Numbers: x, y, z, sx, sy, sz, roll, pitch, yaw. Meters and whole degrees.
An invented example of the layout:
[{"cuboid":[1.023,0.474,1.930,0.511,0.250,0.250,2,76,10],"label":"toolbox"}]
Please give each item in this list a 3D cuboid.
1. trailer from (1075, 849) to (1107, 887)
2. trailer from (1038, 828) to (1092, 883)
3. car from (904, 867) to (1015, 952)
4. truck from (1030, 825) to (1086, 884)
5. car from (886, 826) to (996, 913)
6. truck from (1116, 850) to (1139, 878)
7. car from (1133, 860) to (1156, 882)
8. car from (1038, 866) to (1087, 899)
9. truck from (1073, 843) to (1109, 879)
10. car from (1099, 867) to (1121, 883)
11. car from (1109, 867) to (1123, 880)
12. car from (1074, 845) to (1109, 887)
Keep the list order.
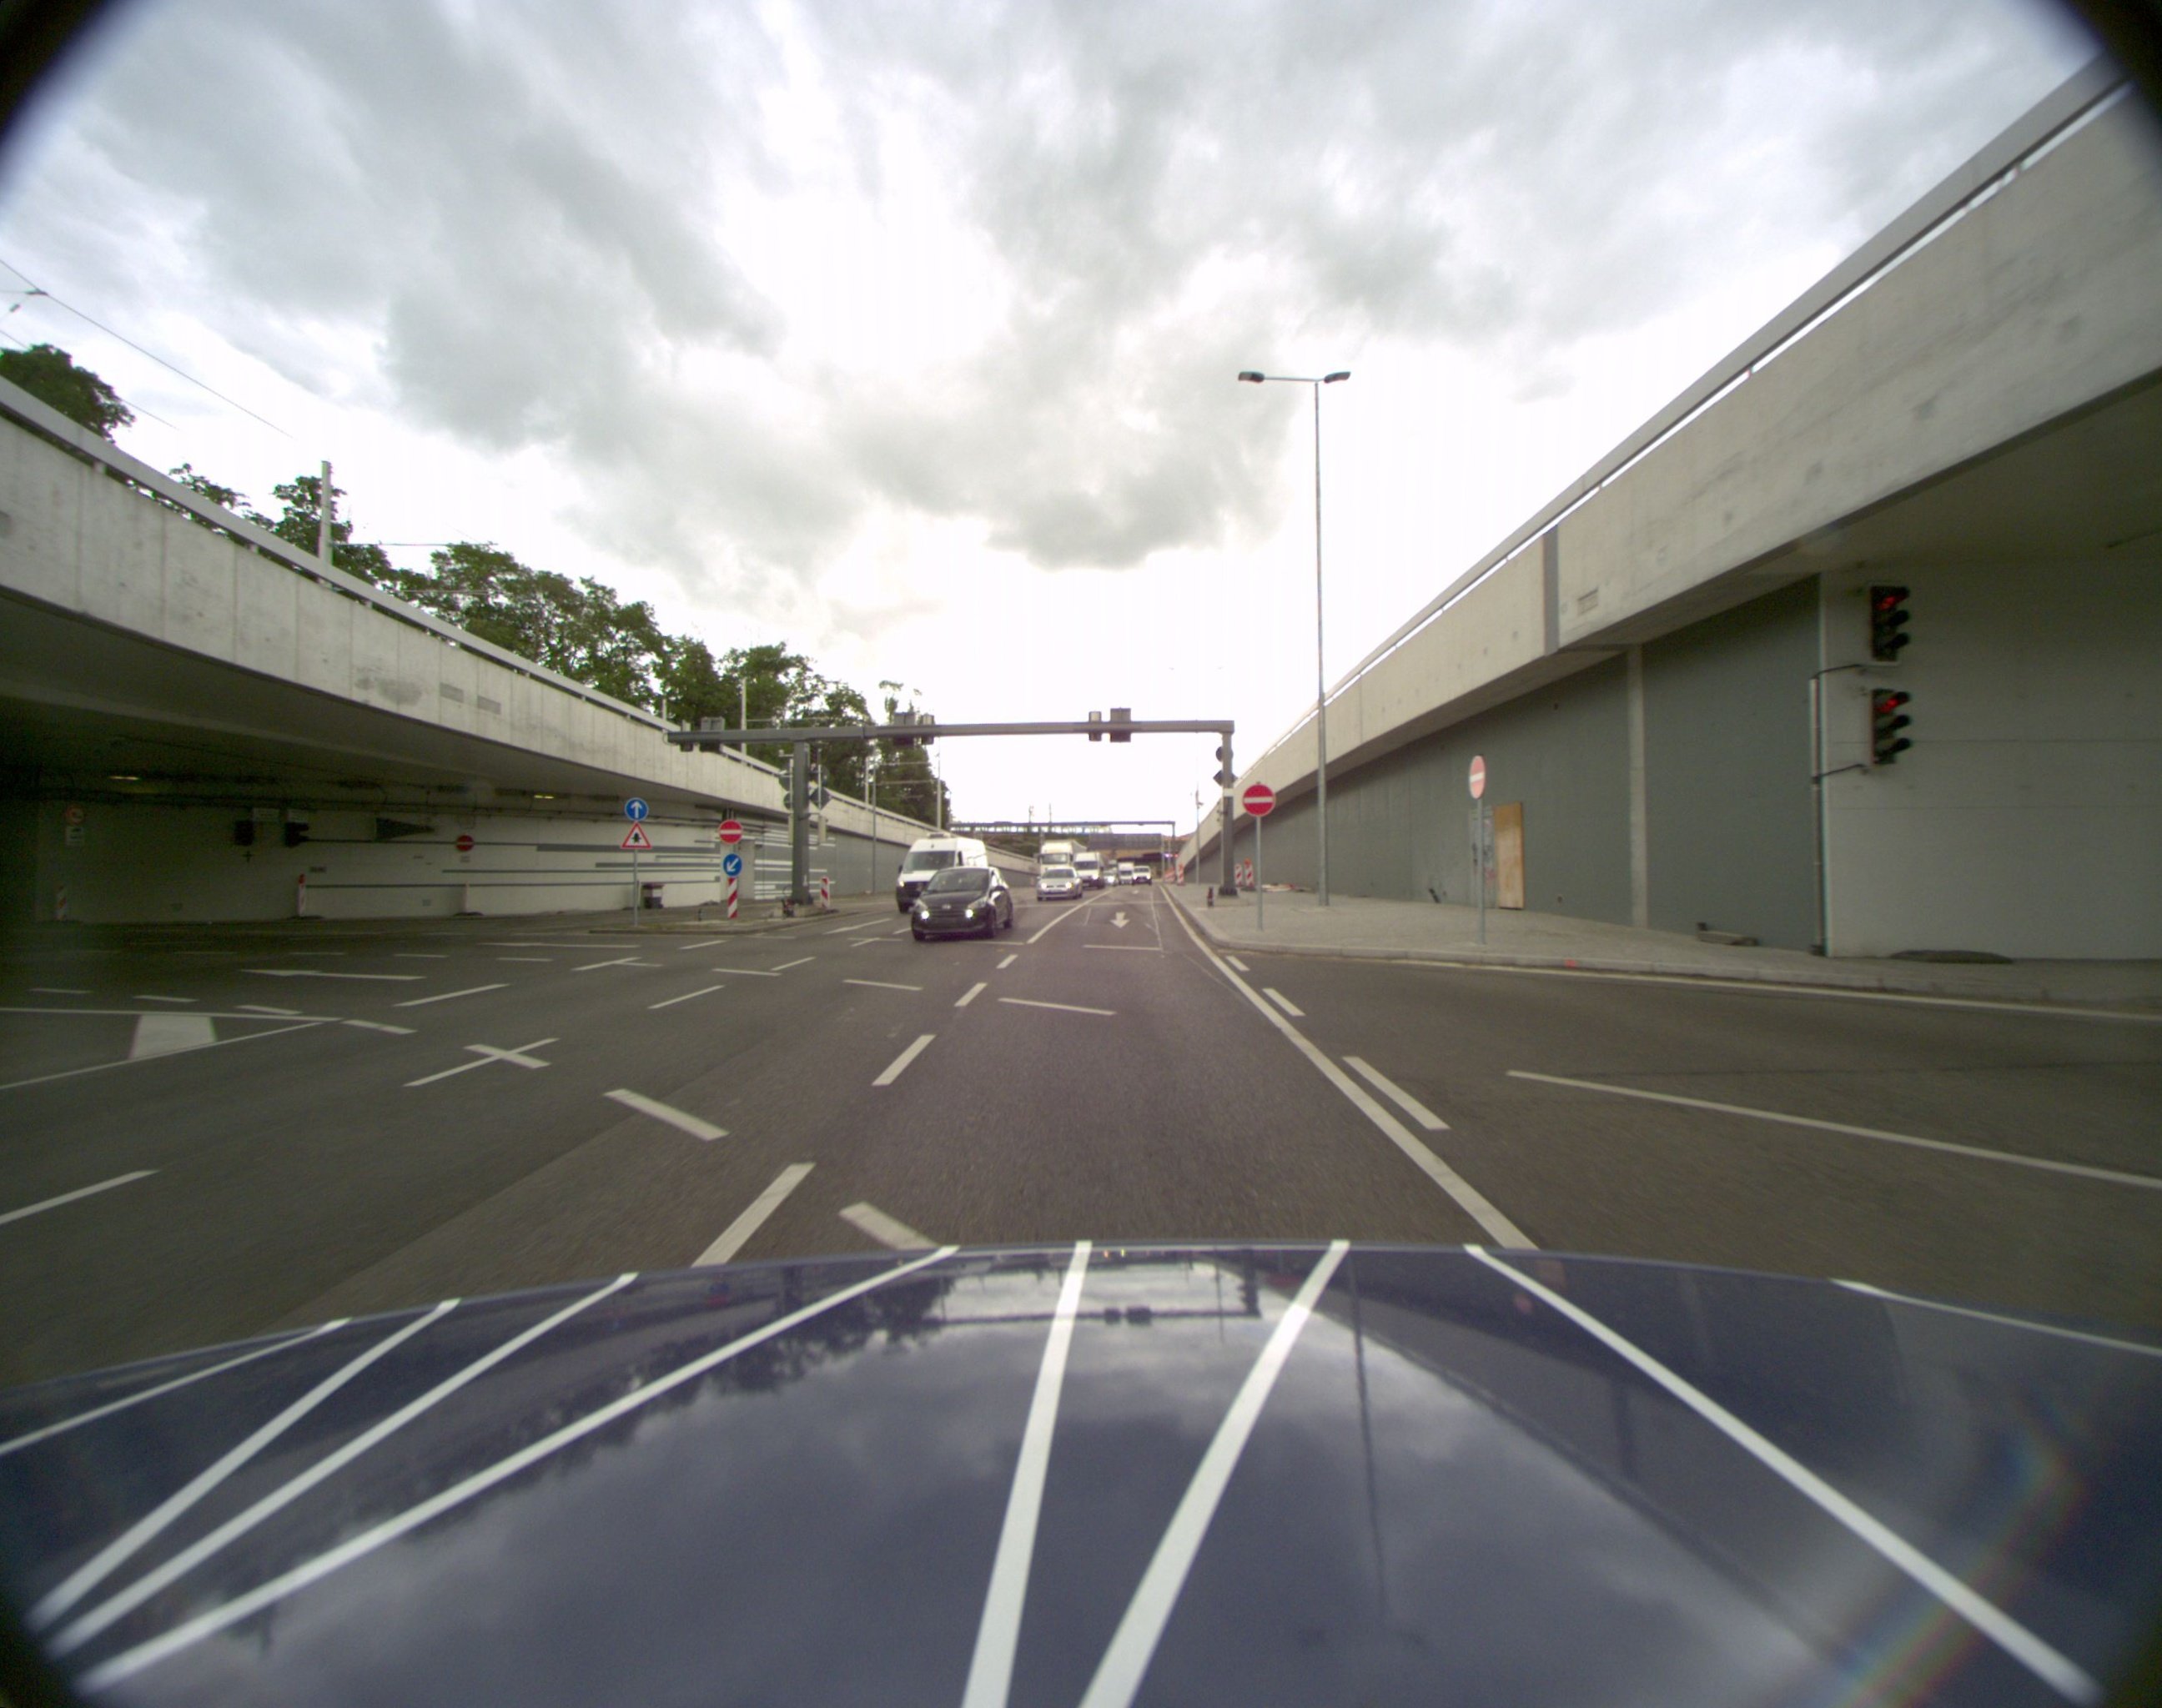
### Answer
[{"cuboid":[0.753,1.126,57.441,2.108,2.622,4.812,-4,-2,1],"label":"trailer"},{"cuboid":[-1.309,0.290,72.482,3.813,4.603,12.121,-3,-2,5],"label":"trailer"},{"cuboid":[-2.502,1.111,16.537,1.686,1.536,3.693,-1,0,2],"label":"car"},{"cuboid":[-1.862,0.110,65.520,3.813,4.603,7.447,-3,-1,4],"label":"truck"},{"cuboid":[-4.954,0.607,28.236,2.080,2.756,7.331,-2,-2,5],"label":"car"},{"cuboid":[6.817,1.477,110.866,3.032,3.565,8.954,-5,-1,4],"label":"truck"},{"cuboid":[6.187,1.651,74.063,1.998,1.978,5.203,-3,-1,6],"label":"car"},{"cuboid":[-0.777,1.232,34.191,1.767,1.375,4.040,-1,-1,4],"label":"car"},{"cuboid":[1.394,0.971,97.070,3.732,4.116,10.990,-3,-2,5],"label":"truck"},{"cuboid":[2.653,1.879,69.098,1.720,1.390,4.349,0,0,6],"label":"car"},{"cuboid":[5.897,3.263,127.885,1.998,2.001,4.416,-5,-1,7],"label":"car"},{"cuboid":[0.675,0.938,52.715,2.063,2.611,5.945,-5,-2,0],"label":"car"}]
